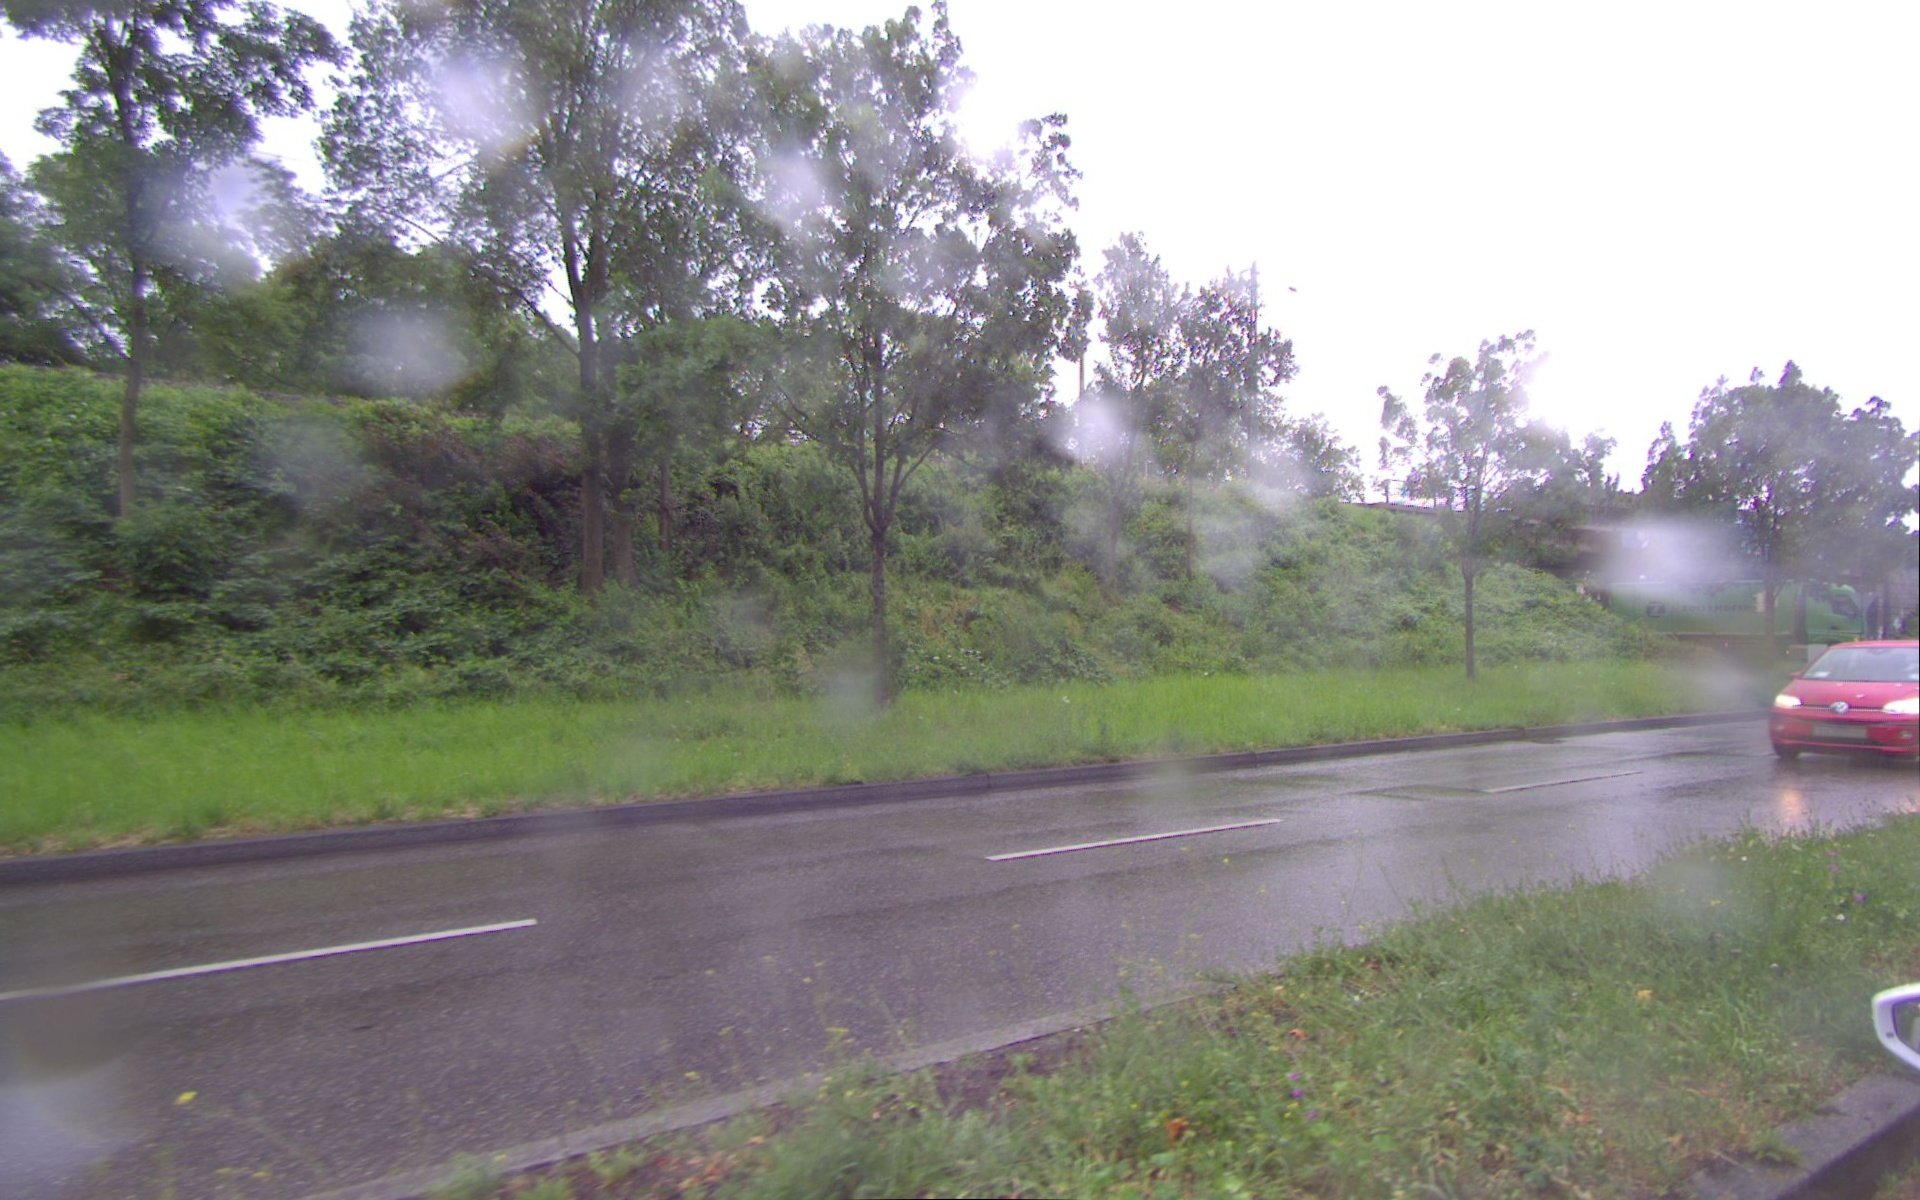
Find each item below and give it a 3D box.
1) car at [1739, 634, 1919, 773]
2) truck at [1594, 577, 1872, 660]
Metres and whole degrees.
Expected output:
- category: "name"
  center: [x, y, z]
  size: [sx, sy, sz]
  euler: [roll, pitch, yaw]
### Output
- category: "car"
  center: [11.786, 1.210, 12.775]
  size: [3.571, 1.533, 1.708]
  euler: [1, -3, -30]
- category: "truck"
  center: [36.045, 0.834, 47.402]
  size: [9.947, 3.497, 2.657]
  euler: [2, -1, 24]
